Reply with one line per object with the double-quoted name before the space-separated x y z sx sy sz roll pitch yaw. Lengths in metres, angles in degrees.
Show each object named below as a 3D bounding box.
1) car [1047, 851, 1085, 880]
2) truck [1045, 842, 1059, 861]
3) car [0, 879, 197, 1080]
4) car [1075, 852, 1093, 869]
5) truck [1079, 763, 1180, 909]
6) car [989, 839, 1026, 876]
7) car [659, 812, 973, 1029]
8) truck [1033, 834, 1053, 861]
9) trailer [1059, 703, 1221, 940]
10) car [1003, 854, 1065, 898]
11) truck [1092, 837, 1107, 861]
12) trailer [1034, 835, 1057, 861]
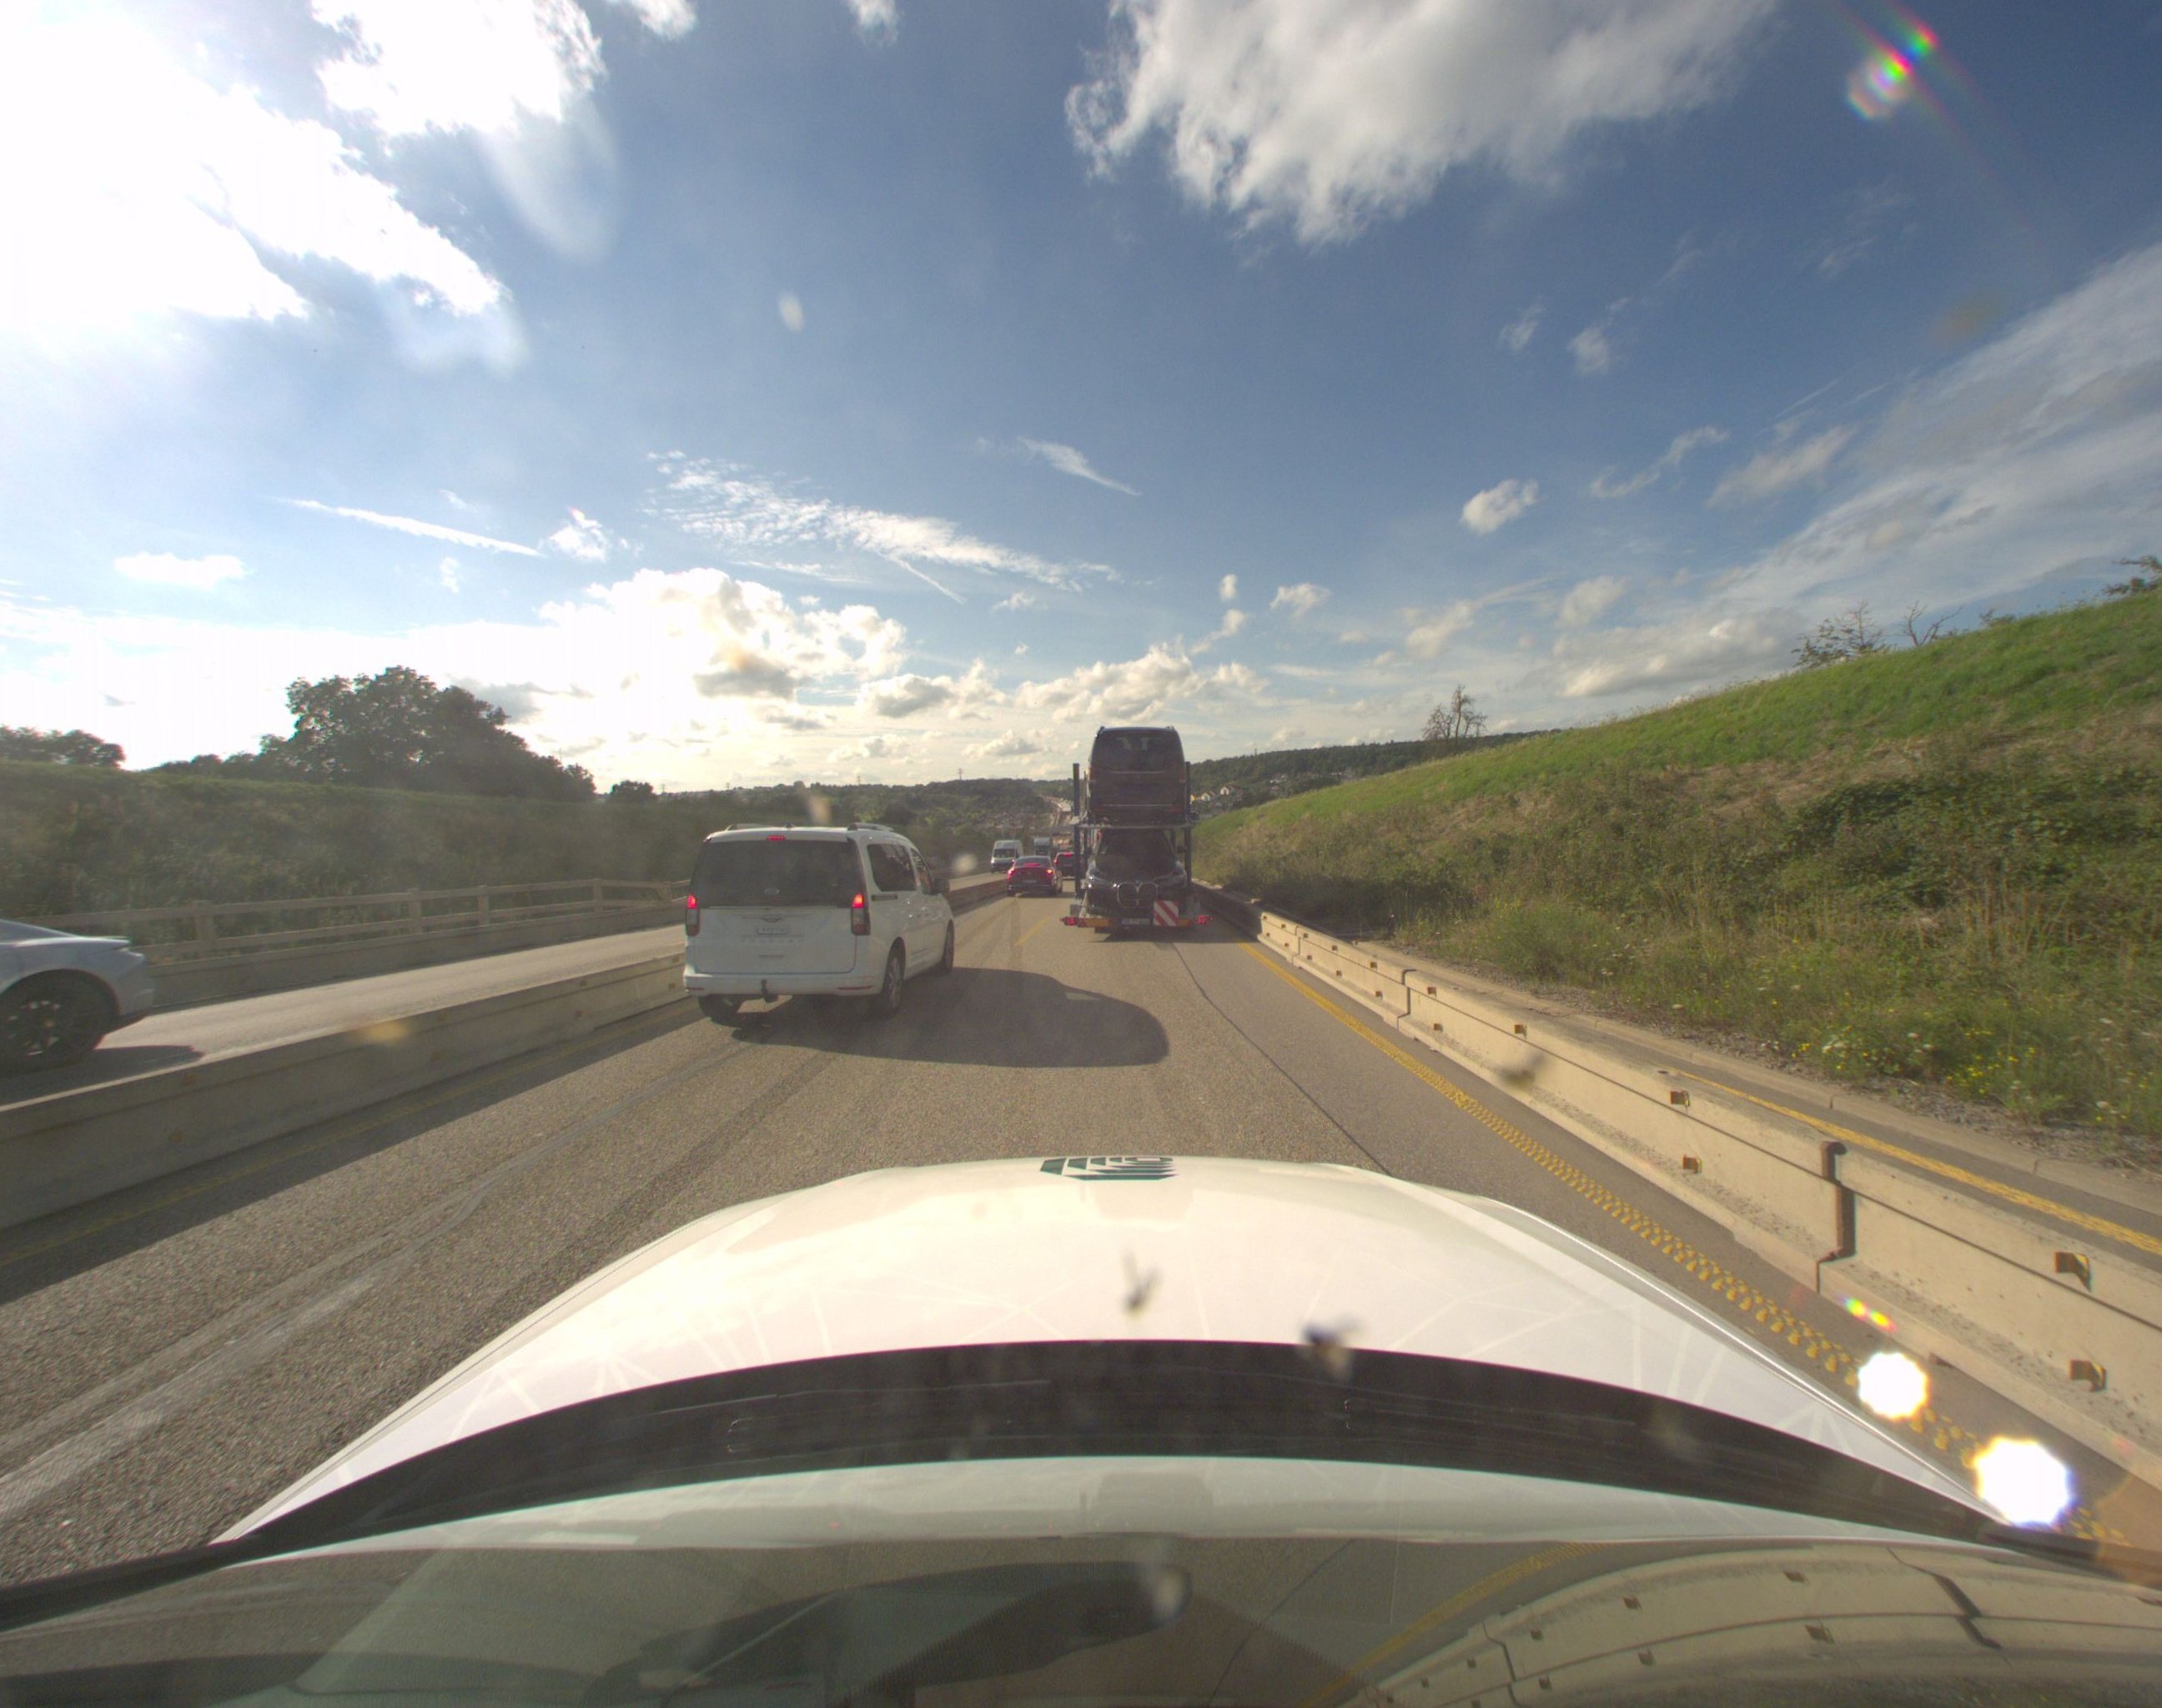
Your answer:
"car" -0.841 0.653 48.644 1.986 1.625 4.752 -1 0 1
"truck" -6.611 -0.598 186.167 2.630 4.099 10.818 -1 0 0
"car" -8.747 0.982 4.876 1.728 1.425 4.628 -4 0 1
"car" 0.305 0.655 81.820 1.790 1.596 4.743 -1 0 0
"truck" 1.497 -0.499 25.293 2.667 3.922 6.032 -1 0 3
"car" -6.065 0.278 68.138 2.102 2.835 6.142 -4 0 2
"car" -2.548 0.543 9.119 1.815 1.823 4.460 0 0 3
"truck" -5.895 -0.998 126.182 2.605 4.153 5.782 -1 0 1
"trailer" 1.251 -0.576 19.754 2.697 4.029 11.426 -1 0 2
"car" -1.690 0.766 30.841 1.815 1.492 4.688 0 0 3
"truck" 3.697 -1.034 167.719 2.854 4.570 11.659 -1 0 1
"trailer" -5.673 -0.963 133.034 2.604 3.953 13.880 -1 0 2
